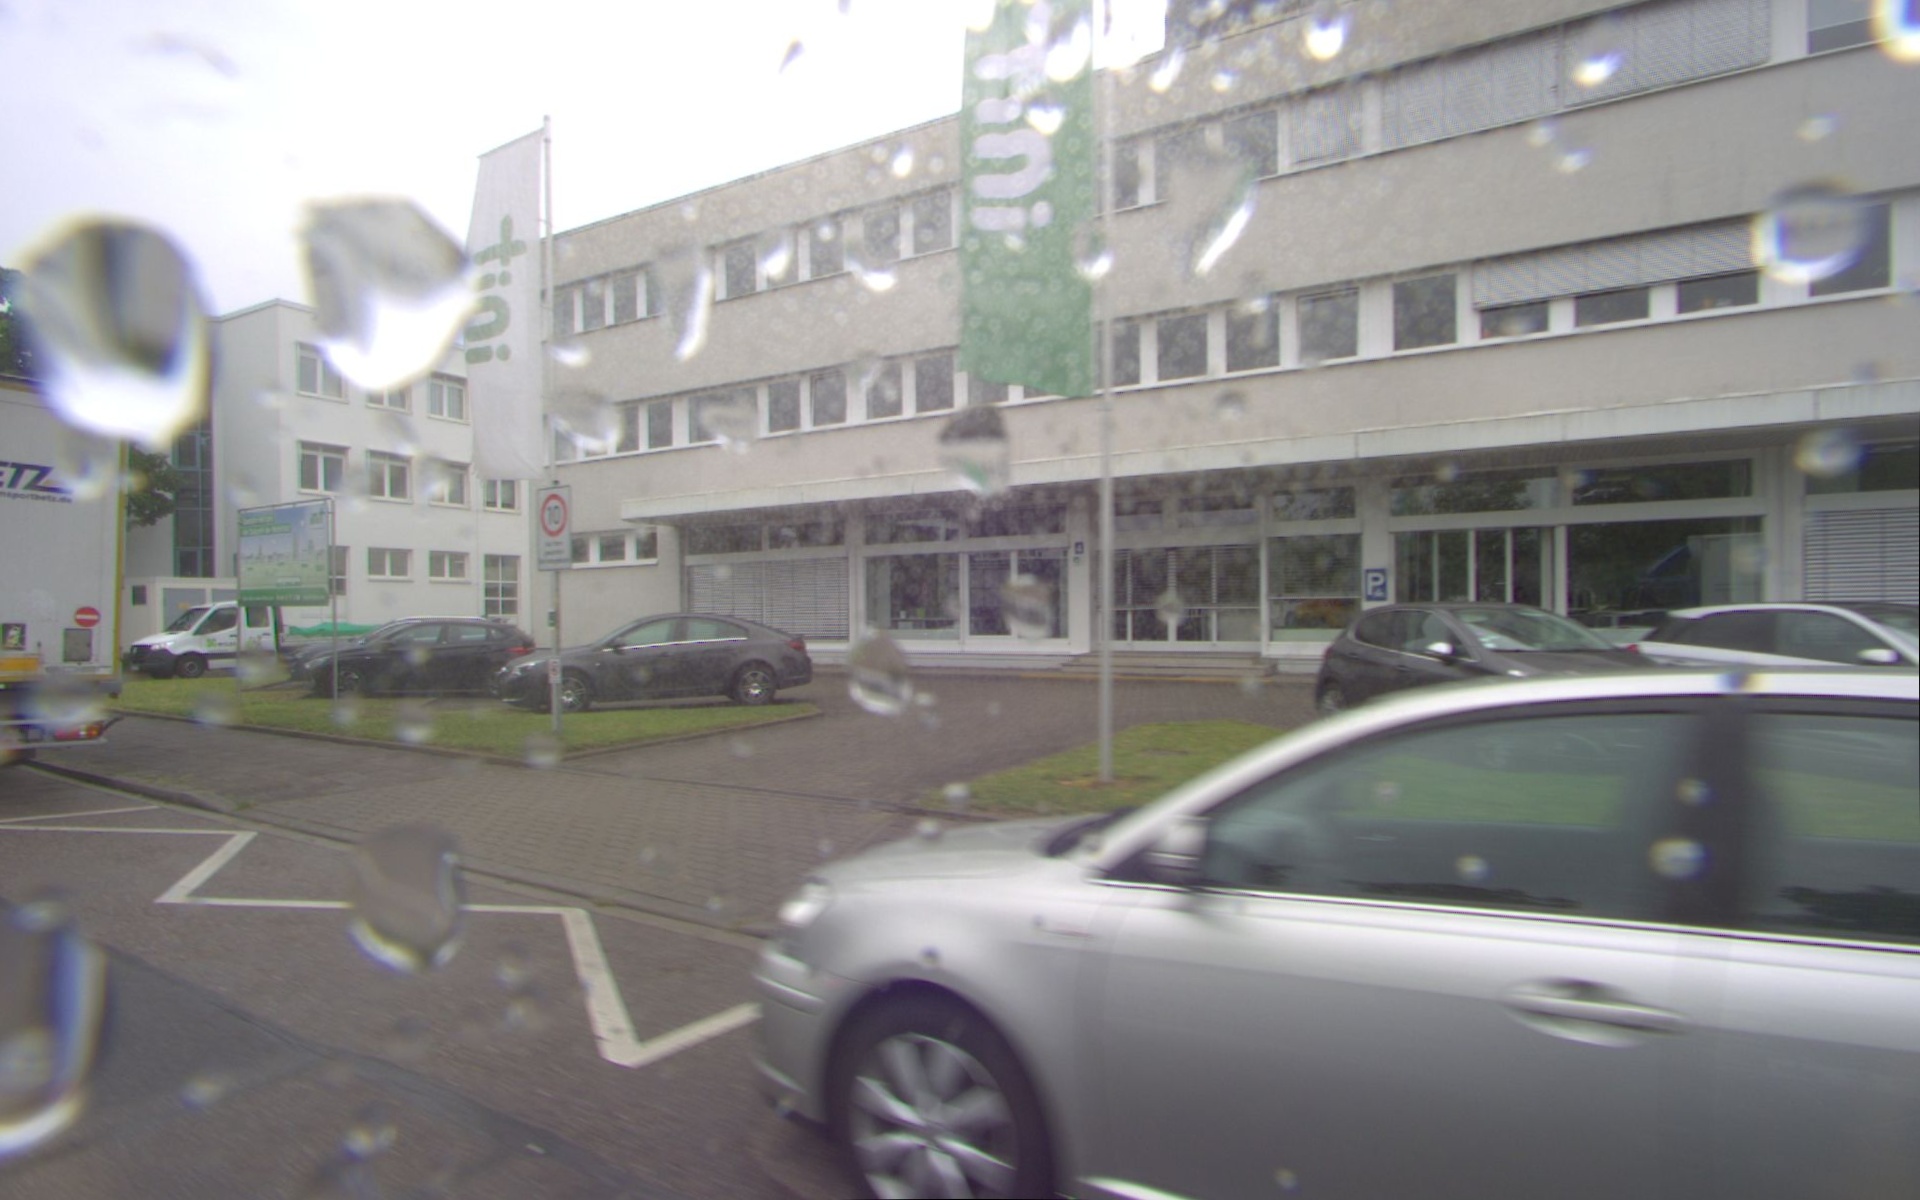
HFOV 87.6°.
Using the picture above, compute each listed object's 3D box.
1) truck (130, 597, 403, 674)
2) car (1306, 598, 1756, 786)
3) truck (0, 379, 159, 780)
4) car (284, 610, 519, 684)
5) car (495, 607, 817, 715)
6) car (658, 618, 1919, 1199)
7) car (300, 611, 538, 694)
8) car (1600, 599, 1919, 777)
[{"bbox_3d":[-21.761,1.054,31.869,2.065,2.168,6.910,-1,-1,32],"label":"truck"},{"bbox_3d":[5.092,0.721,9.582,1.675,1.411,3.765,0,-1,-12],"label":"car"},{"bbox_3d":[-12.023,-0.130,11.115,7.645,3.656,2.735,-1,-3,35],"label":"truck"},{"bbox_3d":[-11.664,0.981,21.220,4.079,1.435,1.686,1,1,-19],"label":"car"},{"bbox_3d":[-4.715,0.886,15.777,4.598,1.487,1.786,0,0,-21],"label":"car"},{"bbox_3d":[1.461,0.788,2.425,4.281,1.460,1.794,-1,0,31],"label":"car"},{"bbox_3d":[-10.214,1.011,19.209,3.716,1.414,1.723,3,-2,-19],"label":"car"},{"bbox_3d":[7.681,0.653,8.276,1.675,1.303,3.996,0,-1,-13],"label":"car"}]
